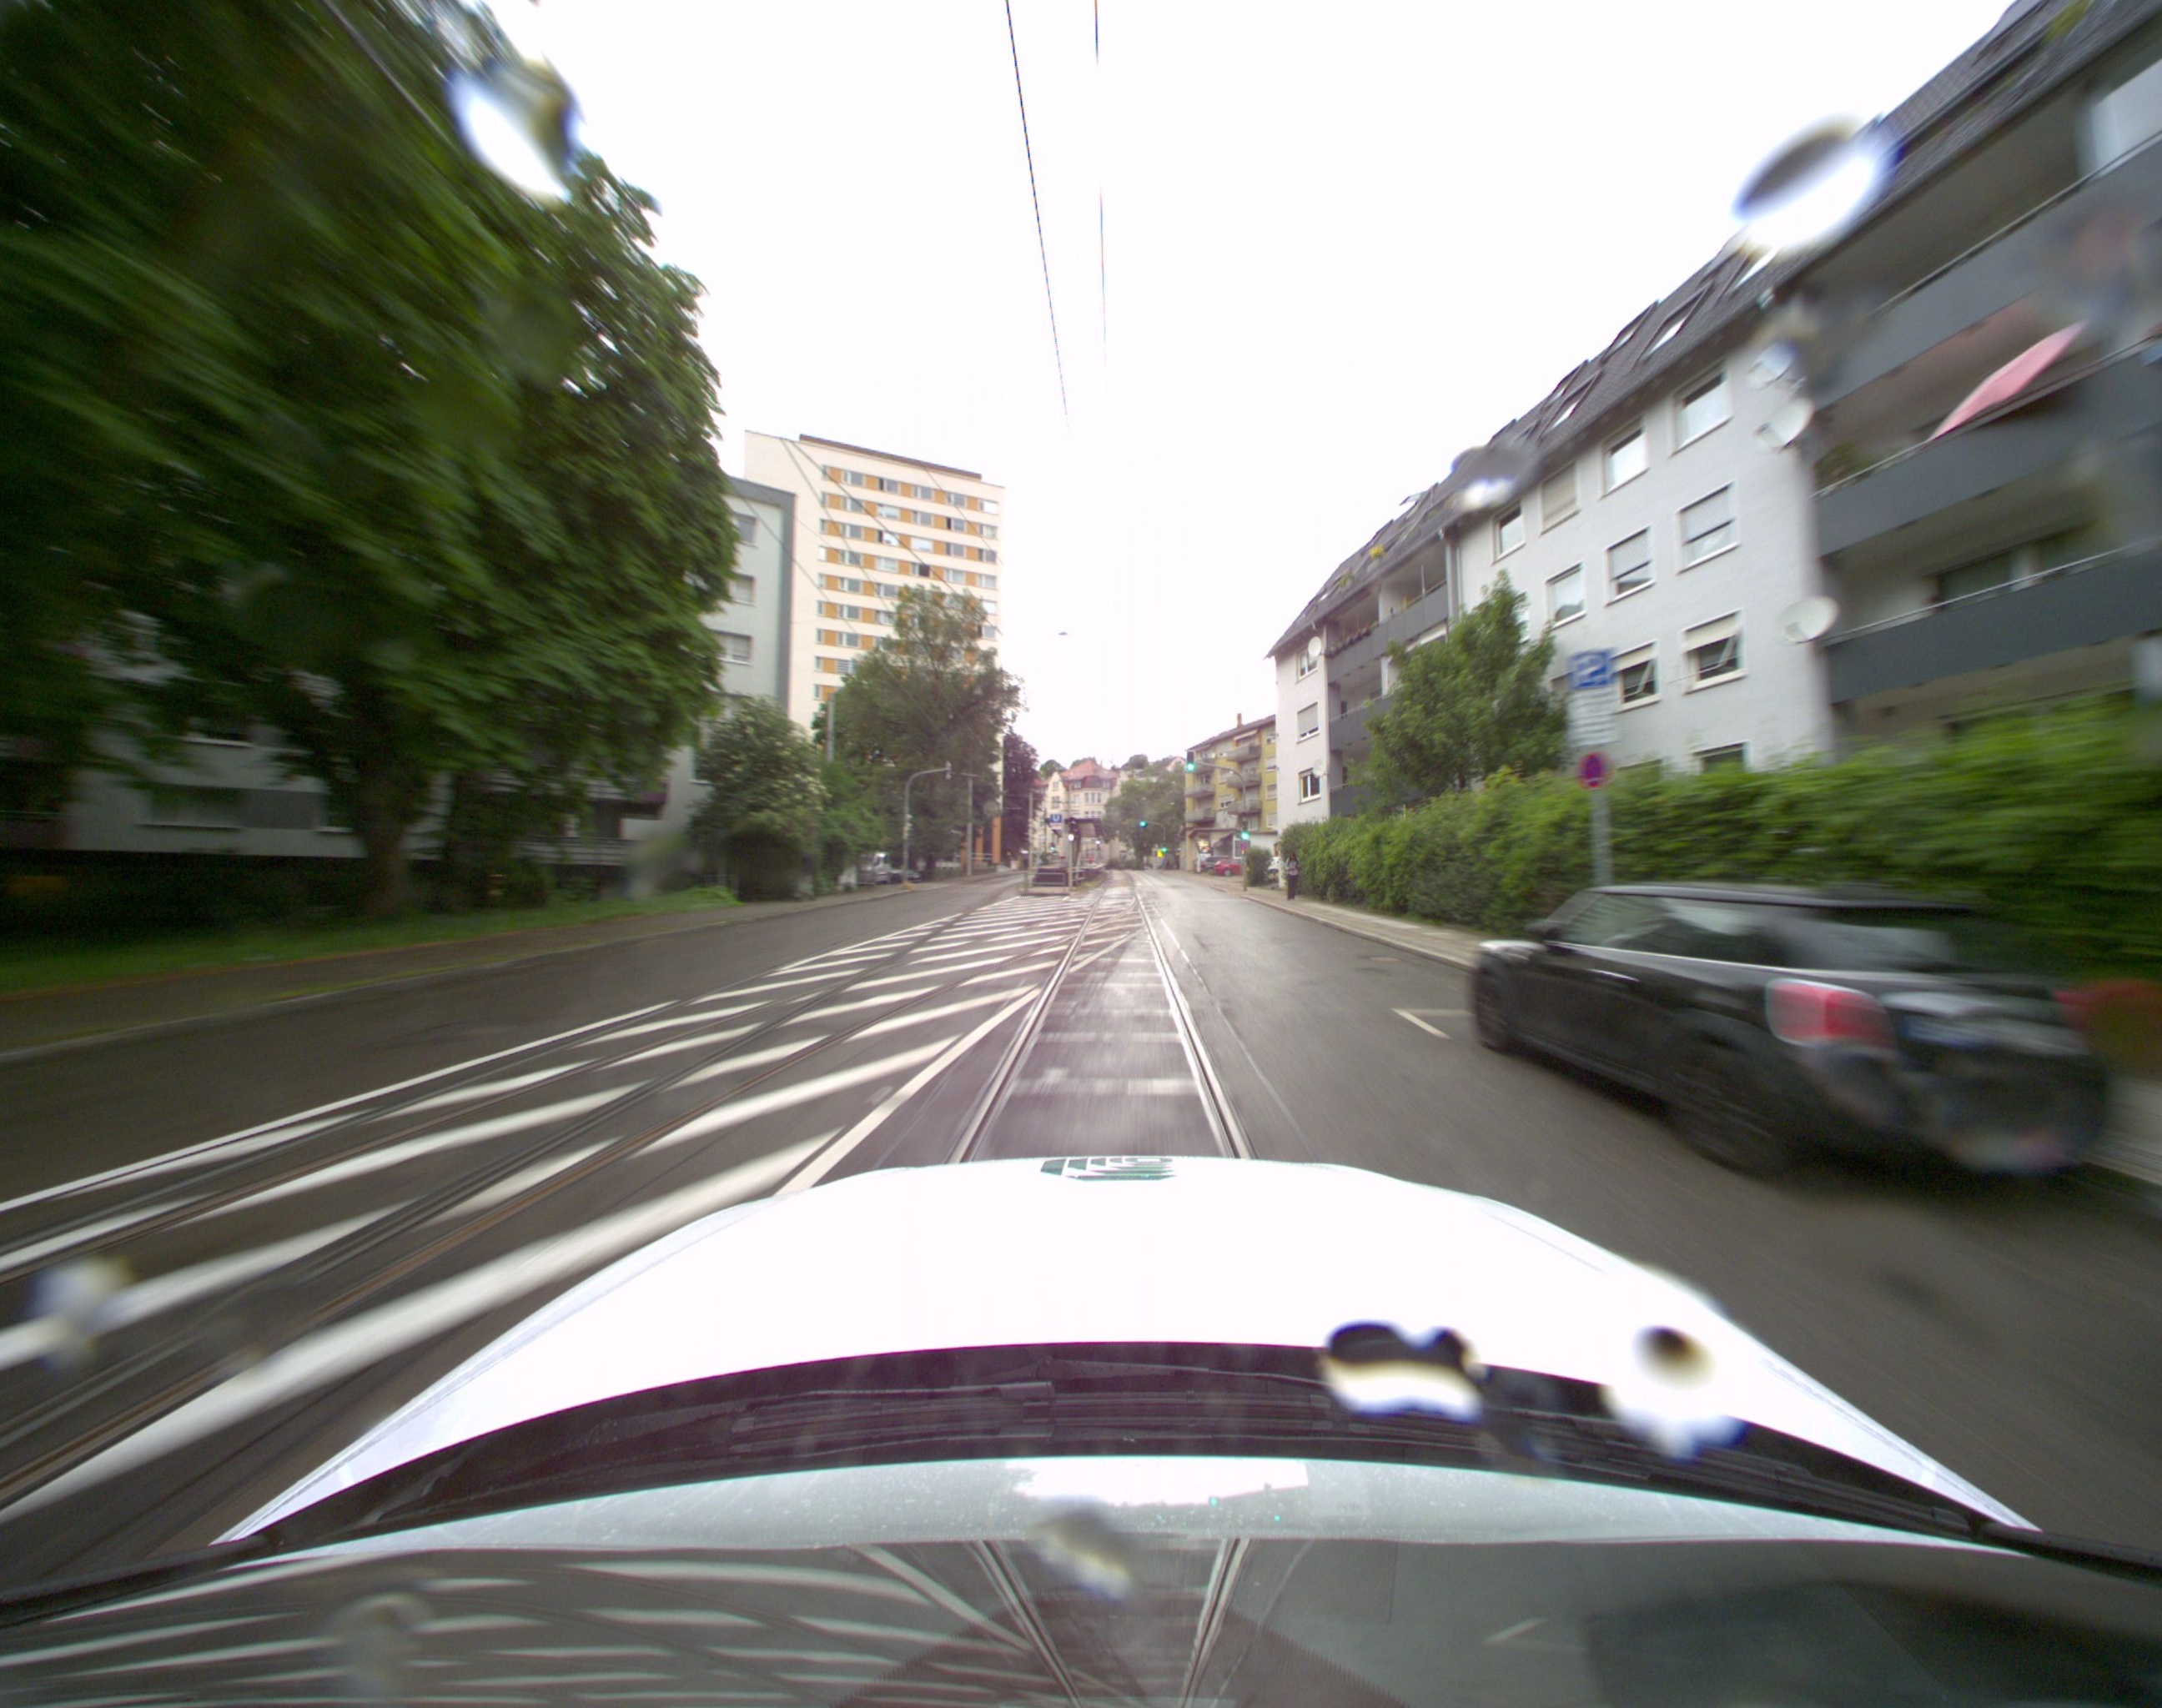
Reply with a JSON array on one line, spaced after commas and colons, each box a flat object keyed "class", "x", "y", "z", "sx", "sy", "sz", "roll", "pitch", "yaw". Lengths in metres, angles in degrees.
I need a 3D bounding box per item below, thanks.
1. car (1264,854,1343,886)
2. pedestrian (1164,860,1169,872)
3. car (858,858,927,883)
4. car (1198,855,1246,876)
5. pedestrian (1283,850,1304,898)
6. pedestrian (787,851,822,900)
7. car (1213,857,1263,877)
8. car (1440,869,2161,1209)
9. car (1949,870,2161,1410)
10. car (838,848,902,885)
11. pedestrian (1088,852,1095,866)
[{"class": "car", "x": 12.483, "y": 0.923, "z": 45.802, "sx": 3.973, "sy": 1.646, "sz": 1.807, "roll": 1, "pitch": -3, "yaw": 1}, {"class": "pedestrian", "x": 10.290, "y": 1.445, "z": 97.947, "sx": 0.577, "sy": 1.467, "sz": 0.543, "roll": 2, "pitch": -5, "yaw": -5}, {"class": "car", "x": -11.844, "y": 1.046, "z": 51.081, "sx": 3.950, "sy": 1.406, "sz": 1.692, "roll": -1, "pitch": -5, "yaw": 25}, {"class": "car", "x": 12.327, "y": 1.020, "z": 71.237, "sx": 3.971, "sy": 1.646, "sz": 1.808, "roll": 1, "pitch": -3, "yaw": 2}, {"class": "pedestrian", "x": 7.425, "y": 0.703, "z": 28.496, "sx": 0.641, "sy": 1.629, "sz": 0.700, "roll": 0, "pitch": -2, "yaw": 6}, {"class": "pedestrian", "x": -9.593, "y": 0.758, "z": 28.292, "sx": 0.734, "sy": 1.678, "sz": 0.920, "roll": 0, "pitch": -5, "yaw": 8}, {"class": "car", "x": 12.963, "y": 1.085, "z": 67.530, "sx": 3.828, "sy": 1.543, "sz": 1.807, "roll": 1, "pitch": -3, "yaw": 1}, {"class": "car", "x": 4.069, "y": 0.836, "z": 5.487, "sx": 1.698, "sy": 1.426, "sz": 3.864, "roll": 1, "pitch": -1, "yaw": 2}, {"class": "car", "x": 3.673, "y": 0.756, "z": 0.581, "sx": 1.698, "sy": 1.428, "sz": 4.252, "roll": 1, "pitch": -1, "yaw": 2}, {"class": "car", "x": -11.083, "y": 0.679, "z": 43.103, "sx": 1.984, "sy": 1.684, "sz": 4.004, "roll": 1, "pitch": -4, "yaw": 5}, {"class": "pedestrian", "x": 1.166, "y": 0.558, "z": 88.839, "sx": 0.654, "sy": 1.467, "sz": 0.773, "roll": 1, "pitch": -5, "yaw": 5}]
